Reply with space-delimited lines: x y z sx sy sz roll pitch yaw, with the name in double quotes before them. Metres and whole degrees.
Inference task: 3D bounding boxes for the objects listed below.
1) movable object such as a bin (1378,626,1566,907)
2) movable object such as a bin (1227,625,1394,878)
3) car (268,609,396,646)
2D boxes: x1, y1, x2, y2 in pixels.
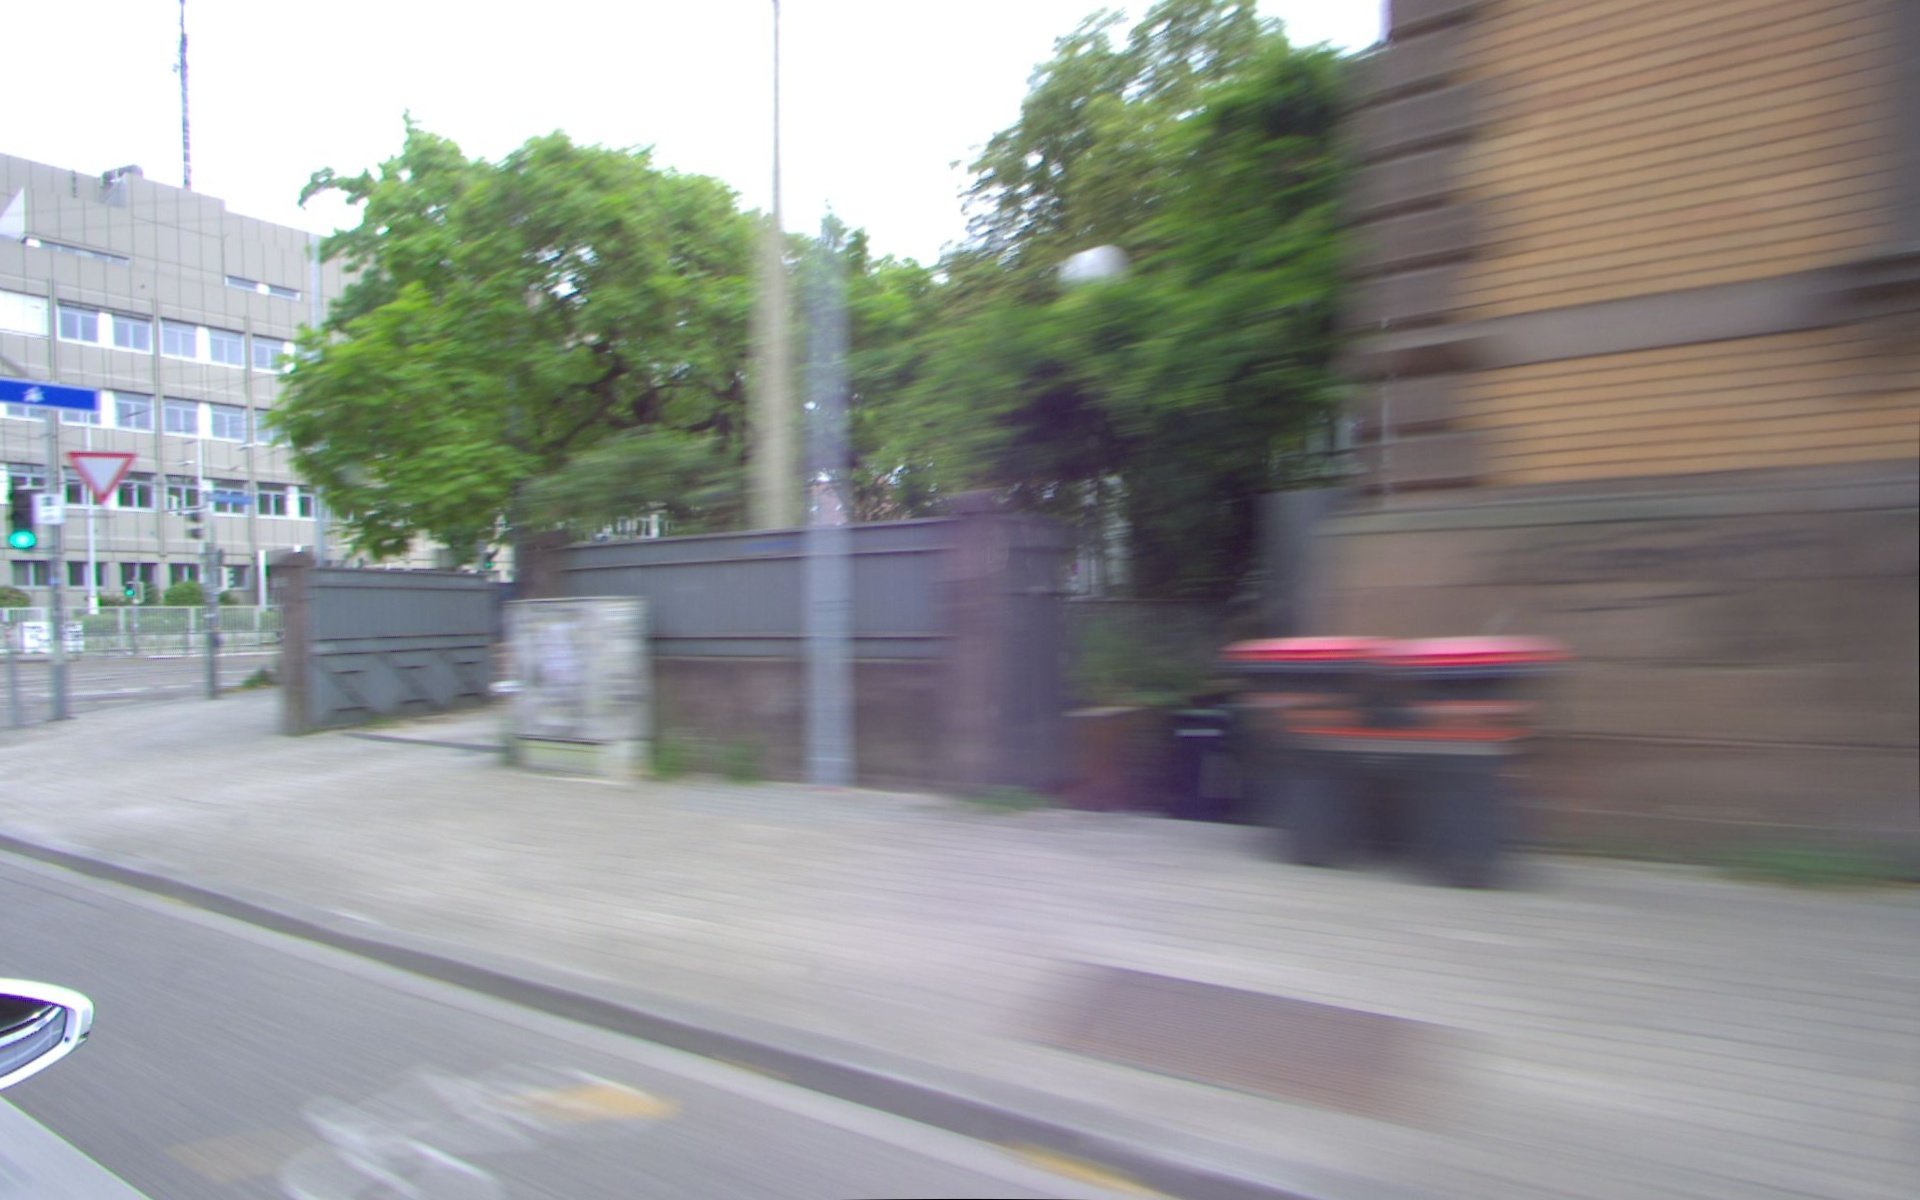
"movable object such as a bin" 2.304 0.696 4.517 0.690 1.097 0.662 -1 3 29
"movable object such as a bin" 1.748 0.703 4.958 0.667 1.097 0.649 -1 3 28
"car" -27.591 1.179 44.110 1.976 1.524 4.387 -1 -1 39
